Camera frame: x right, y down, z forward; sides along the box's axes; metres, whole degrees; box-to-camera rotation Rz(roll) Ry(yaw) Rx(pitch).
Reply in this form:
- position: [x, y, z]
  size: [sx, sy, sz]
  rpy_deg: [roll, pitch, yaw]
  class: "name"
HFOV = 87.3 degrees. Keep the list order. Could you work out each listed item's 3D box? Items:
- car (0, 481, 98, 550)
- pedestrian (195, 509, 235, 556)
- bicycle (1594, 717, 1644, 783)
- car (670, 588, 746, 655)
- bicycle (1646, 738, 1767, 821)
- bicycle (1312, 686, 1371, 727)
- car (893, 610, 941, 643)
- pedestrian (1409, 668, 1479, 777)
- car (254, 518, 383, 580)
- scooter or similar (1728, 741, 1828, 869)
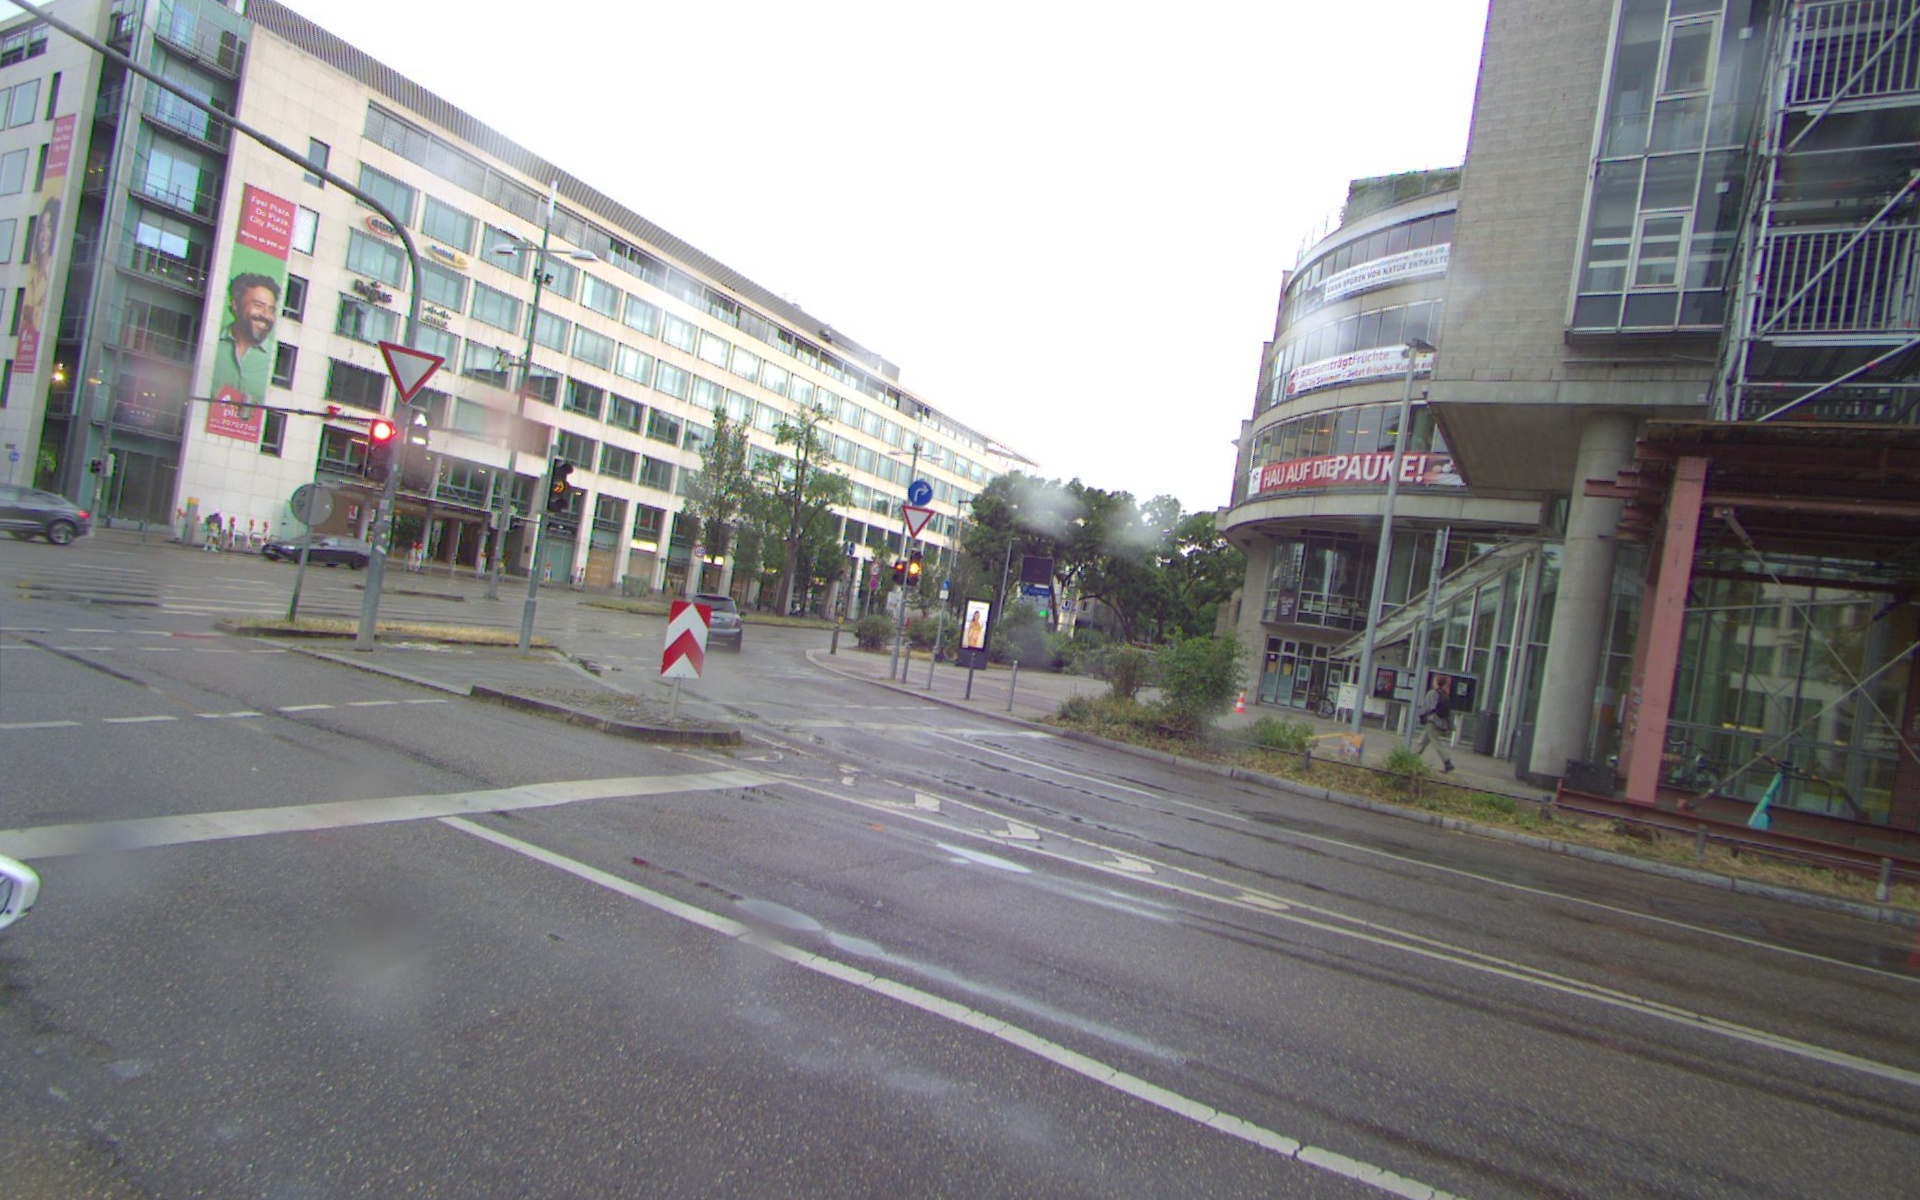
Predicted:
- position: [-27.501, -2.573, 28.359]
  size: [1.797, 1.627, 4.494]
  rpy_deg: [7, -2, 16]
  class: "car"
- position: [-32.119, -2.924, 43.387]
  size: [0.822, 1.838, 0.963]
  rpy_deg: [6, -1, 31]
  class: "pedestrian"
- position: [13.670, 3.090, 20.887]
  size: [0.576, 1.208, 1.614]
  rpy_deg: [7, -2, 27]
  class: "bicycle"
- position: [-6.783, 0.572, 27.390]
  size: [1.717, 1.472, 3.715]
  rpy_deg: [8, -2, -12]
  class: "car"
- position: [13.495, 3.229, 18.220]
  size: [1.584, 1.208, 0.587]
  rpy_deg: [7, -1, 6]
  class: "bicycle"
- position: [13.464, 3.752, 35.522]
  size: [1.753, 1.208, 0.586]
  rpy_deg: [6, -1, 29]
  class: "bicycle"
- position: [-2.703, 1.703, 63.700]
  size: [1.898, 1.715, 4.004]
  rpy_deg: [8, -1, 12]
  class: "car"
- position: [8.595, 2.151, 17.902]
  size: [0.776, 1.796, 0.781]
  rpy_deg: [7, -1, 13]
  class: "pedestrian"
- position: [-28.668, -2.217, 45.140]
  size: [1.521, 2.036, 4.669]
  rpy_deg: [7, -2, 25]
  class: "car"
- position: [9.232, 2.273, 11.409]
  size: [0.577, 1.208, 1.780]
  rpy_deg: [7, -1, 34]
  class: "scooter or similar"
